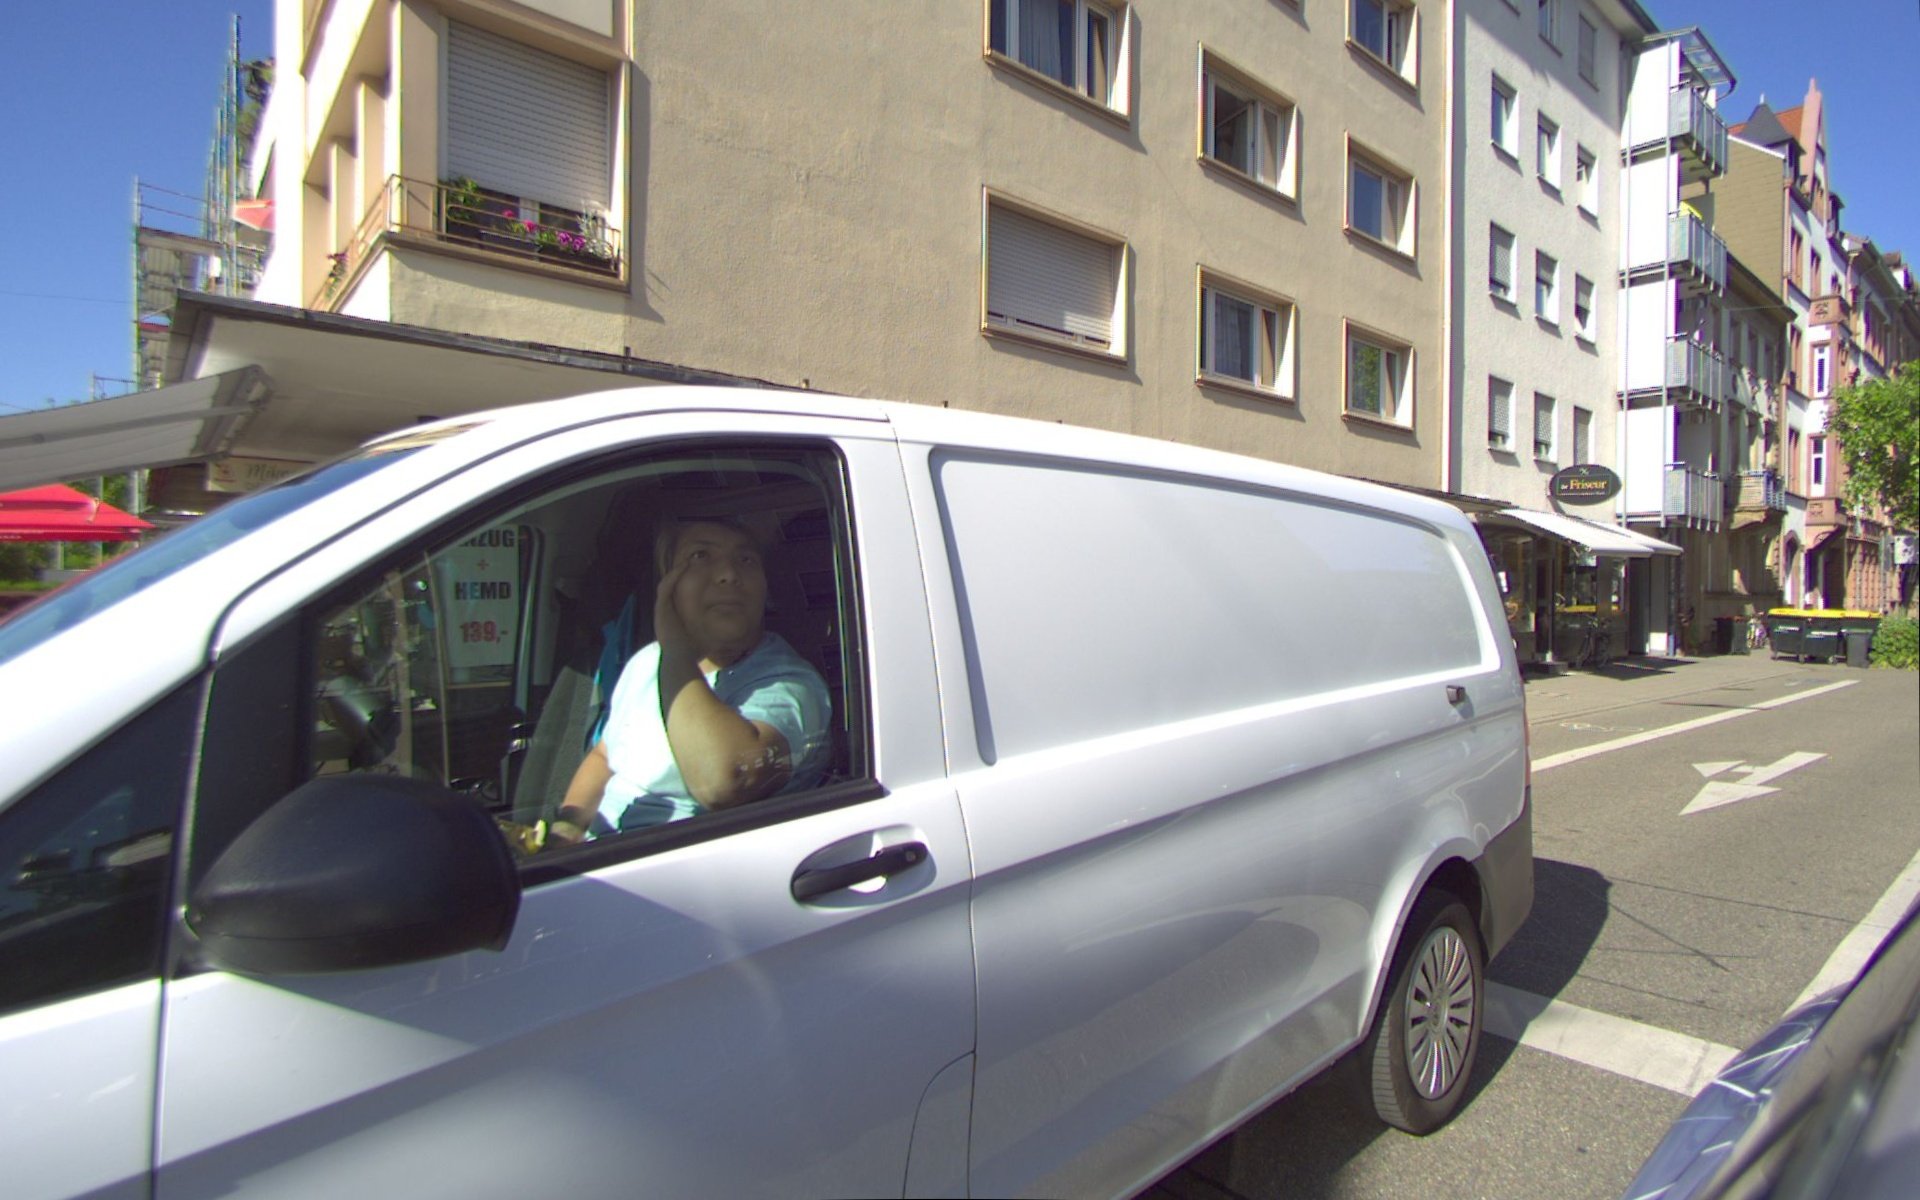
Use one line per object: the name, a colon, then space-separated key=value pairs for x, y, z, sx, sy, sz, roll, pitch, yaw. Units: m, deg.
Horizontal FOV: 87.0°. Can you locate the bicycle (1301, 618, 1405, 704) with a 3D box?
bicycle: x=5.514 y=0.826 z=14.165 sx=1.766 sy=1.098 sz=0.408 roll=0 pitch=3 yaw=-35

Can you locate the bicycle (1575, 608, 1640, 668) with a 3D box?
bicycle: x=13.469 y=0.767 z=21.033 sx=1.742 sy=1.157 sz=0.598 roll=0 pitch=3 yaw=-40

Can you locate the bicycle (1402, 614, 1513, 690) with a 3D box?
bicycle: x=7.867 y=0.811 z=16.071 sx=1.475 sy=1.120 sz=0.719 roll=1 pitch=0 yaw=18

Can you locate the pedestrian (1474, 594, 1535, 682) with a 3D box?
pedestrian: x=9.320 y=0.625 z=17.331 sx=0.615 sy=1.460 sz=0.774 roll=0 pitch=0 yaw=-45

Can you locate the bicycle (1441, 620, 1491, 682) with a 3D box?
bicycle: x=8.609 y=0.848 z=17.207 sx=1.155 sy=0.995 sz=0.375 roll=0 pitch=0 yaw=-43

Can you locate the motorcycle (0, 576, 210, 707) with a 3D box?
motorcycle: x=-8.535 y=0.365 z=10.179 sx=0.556 sy=1.181 sz=2.015 roll=1 pitch=0 yaw=-3

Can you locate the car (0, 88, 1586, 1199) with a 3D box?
car: x=-0.391 y=0.495 z=2.435 sx=4.749 sy=1.833 sz=1.971 roll=0 pitch=1 yaw=-42
